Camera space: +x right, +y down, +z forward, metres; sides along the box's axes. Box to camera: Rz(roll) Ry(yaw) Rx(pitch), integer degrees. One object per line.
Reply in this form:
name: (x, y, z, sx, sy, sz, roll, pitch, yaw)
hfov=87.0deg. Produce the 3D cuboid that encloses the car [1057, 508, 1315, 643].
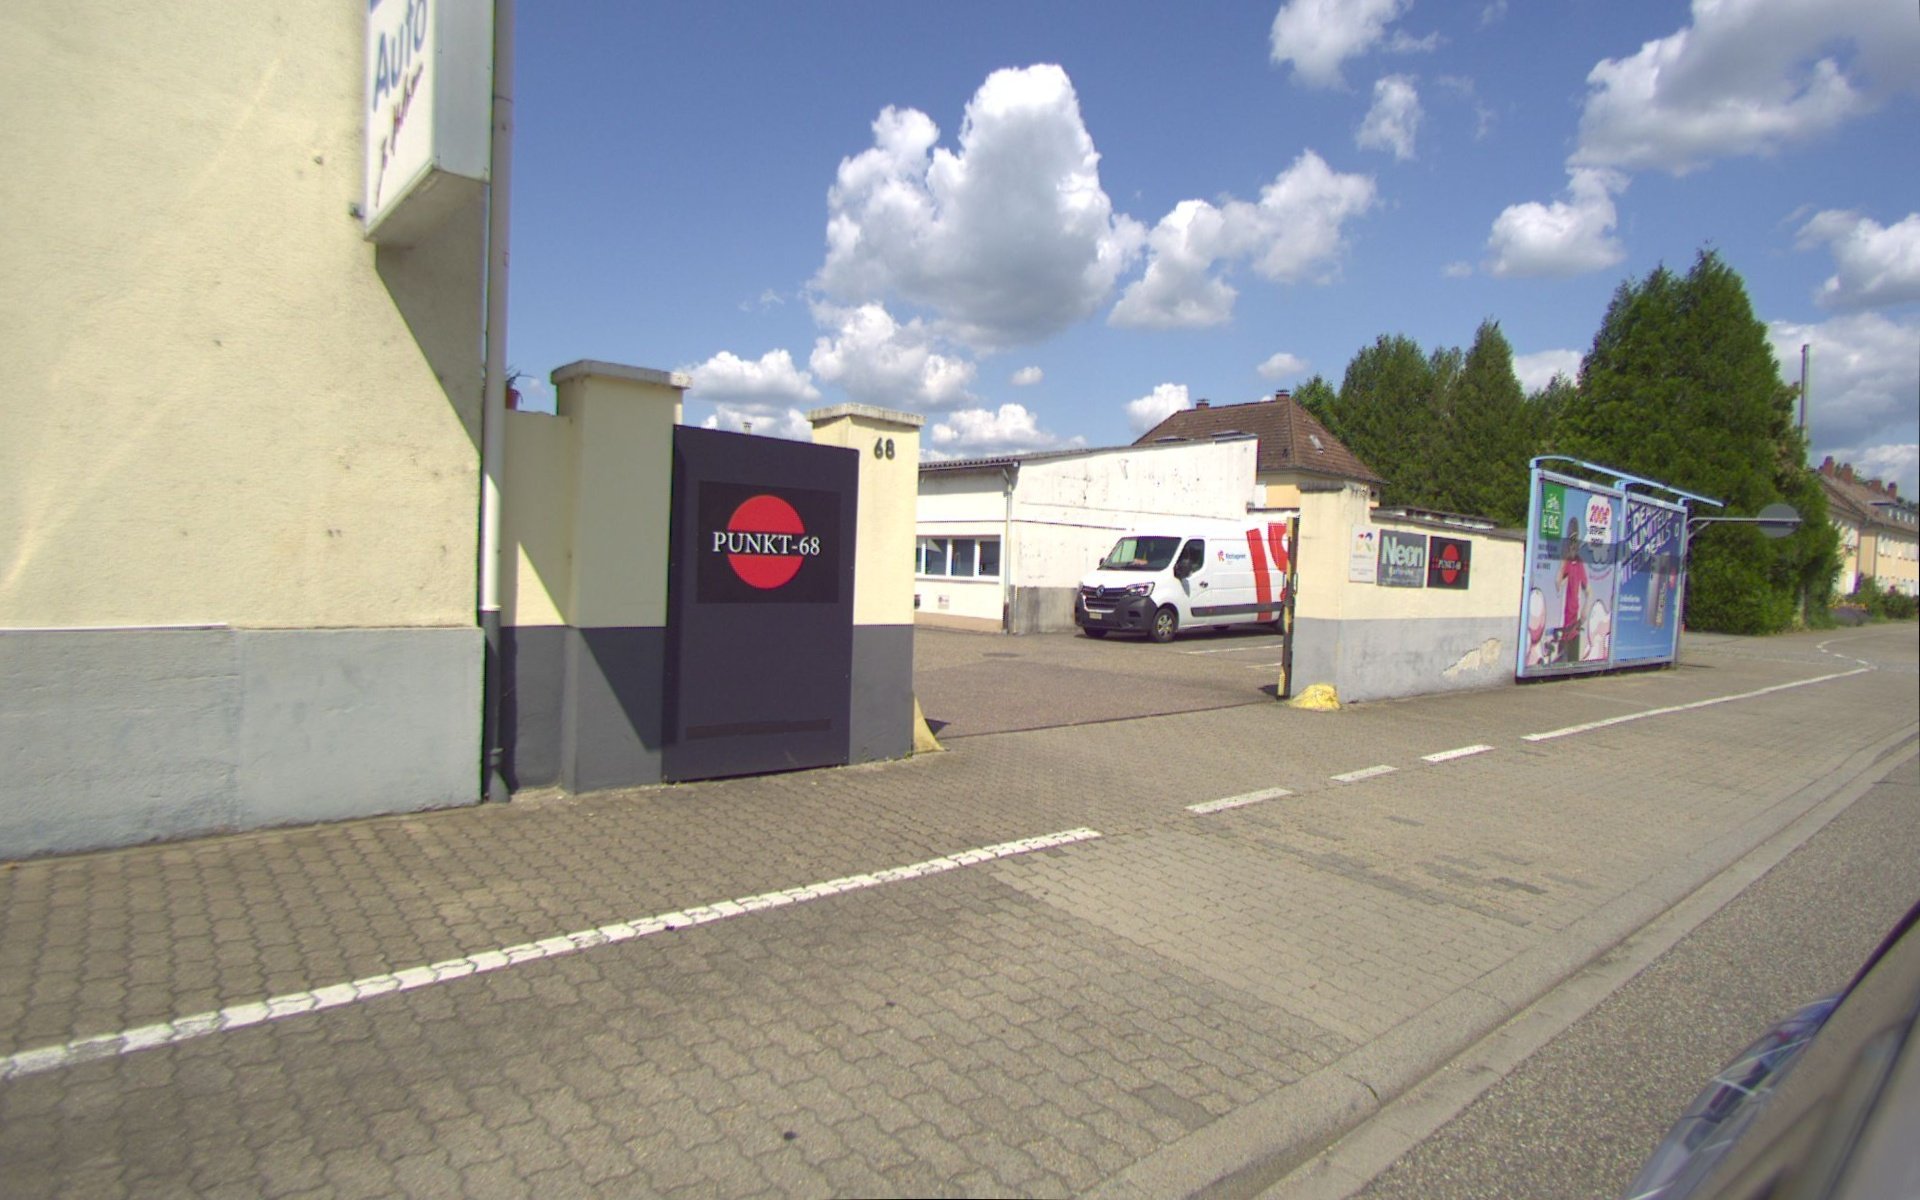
car: (4.906, -0.597, 21.367, 6.063, 2.473, 1.999, -2, 4, -39)

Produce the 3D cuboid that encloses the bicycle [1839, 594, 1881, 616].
bicycle: (49.762, 0.262, 55.967, 0.285, 1.116, 1.693, 1, 2, -40)
